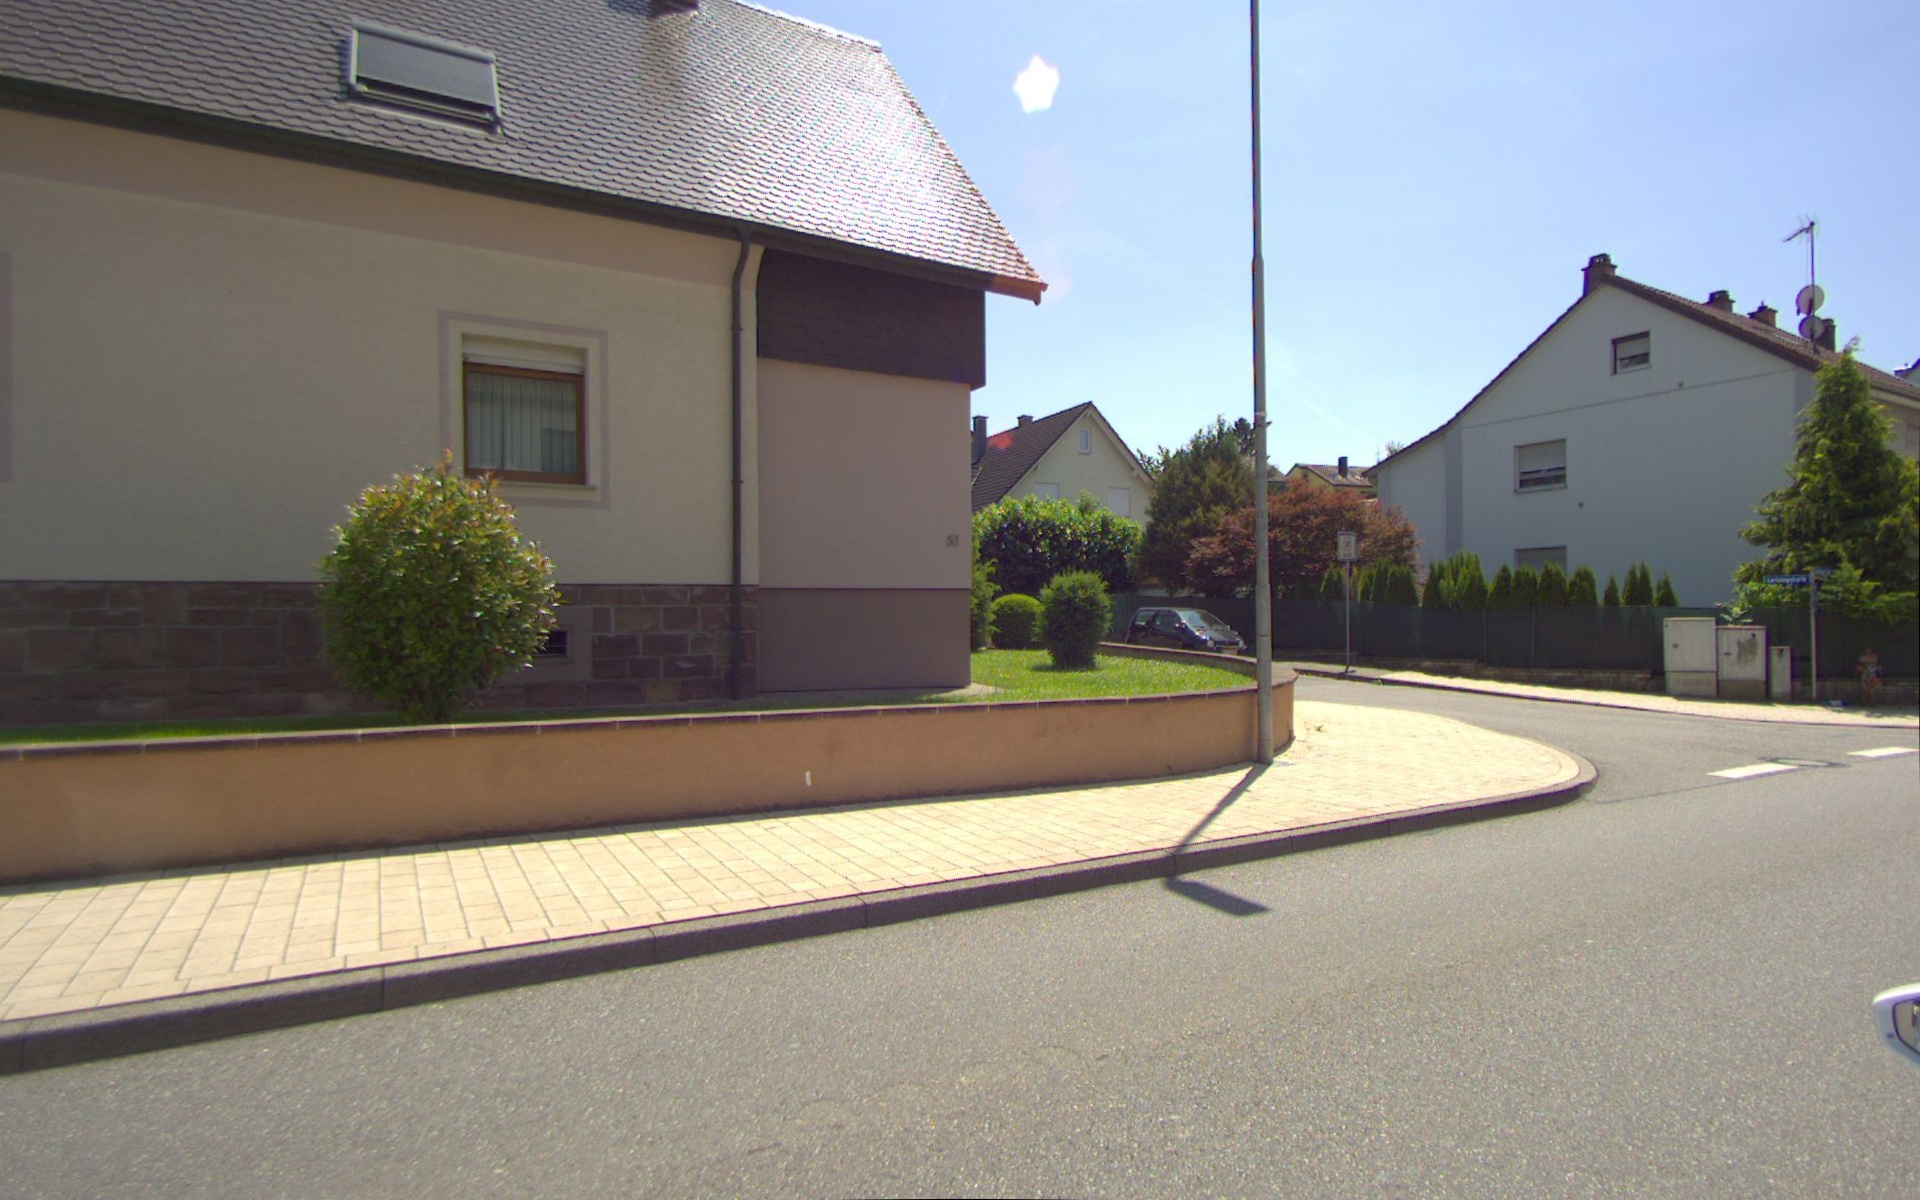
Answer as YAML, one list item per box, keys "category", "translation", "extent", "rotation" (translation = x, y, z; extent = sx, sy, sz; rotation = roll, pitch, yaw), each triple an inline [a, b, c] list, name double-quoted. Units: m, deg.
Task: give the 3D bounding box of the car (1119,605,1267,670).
- category: "car"
  translation: [5.891, 0.916, 25.832]
  extent: [1.729, 1.435, 3.730]
  rotation: [1, 0, -26]
